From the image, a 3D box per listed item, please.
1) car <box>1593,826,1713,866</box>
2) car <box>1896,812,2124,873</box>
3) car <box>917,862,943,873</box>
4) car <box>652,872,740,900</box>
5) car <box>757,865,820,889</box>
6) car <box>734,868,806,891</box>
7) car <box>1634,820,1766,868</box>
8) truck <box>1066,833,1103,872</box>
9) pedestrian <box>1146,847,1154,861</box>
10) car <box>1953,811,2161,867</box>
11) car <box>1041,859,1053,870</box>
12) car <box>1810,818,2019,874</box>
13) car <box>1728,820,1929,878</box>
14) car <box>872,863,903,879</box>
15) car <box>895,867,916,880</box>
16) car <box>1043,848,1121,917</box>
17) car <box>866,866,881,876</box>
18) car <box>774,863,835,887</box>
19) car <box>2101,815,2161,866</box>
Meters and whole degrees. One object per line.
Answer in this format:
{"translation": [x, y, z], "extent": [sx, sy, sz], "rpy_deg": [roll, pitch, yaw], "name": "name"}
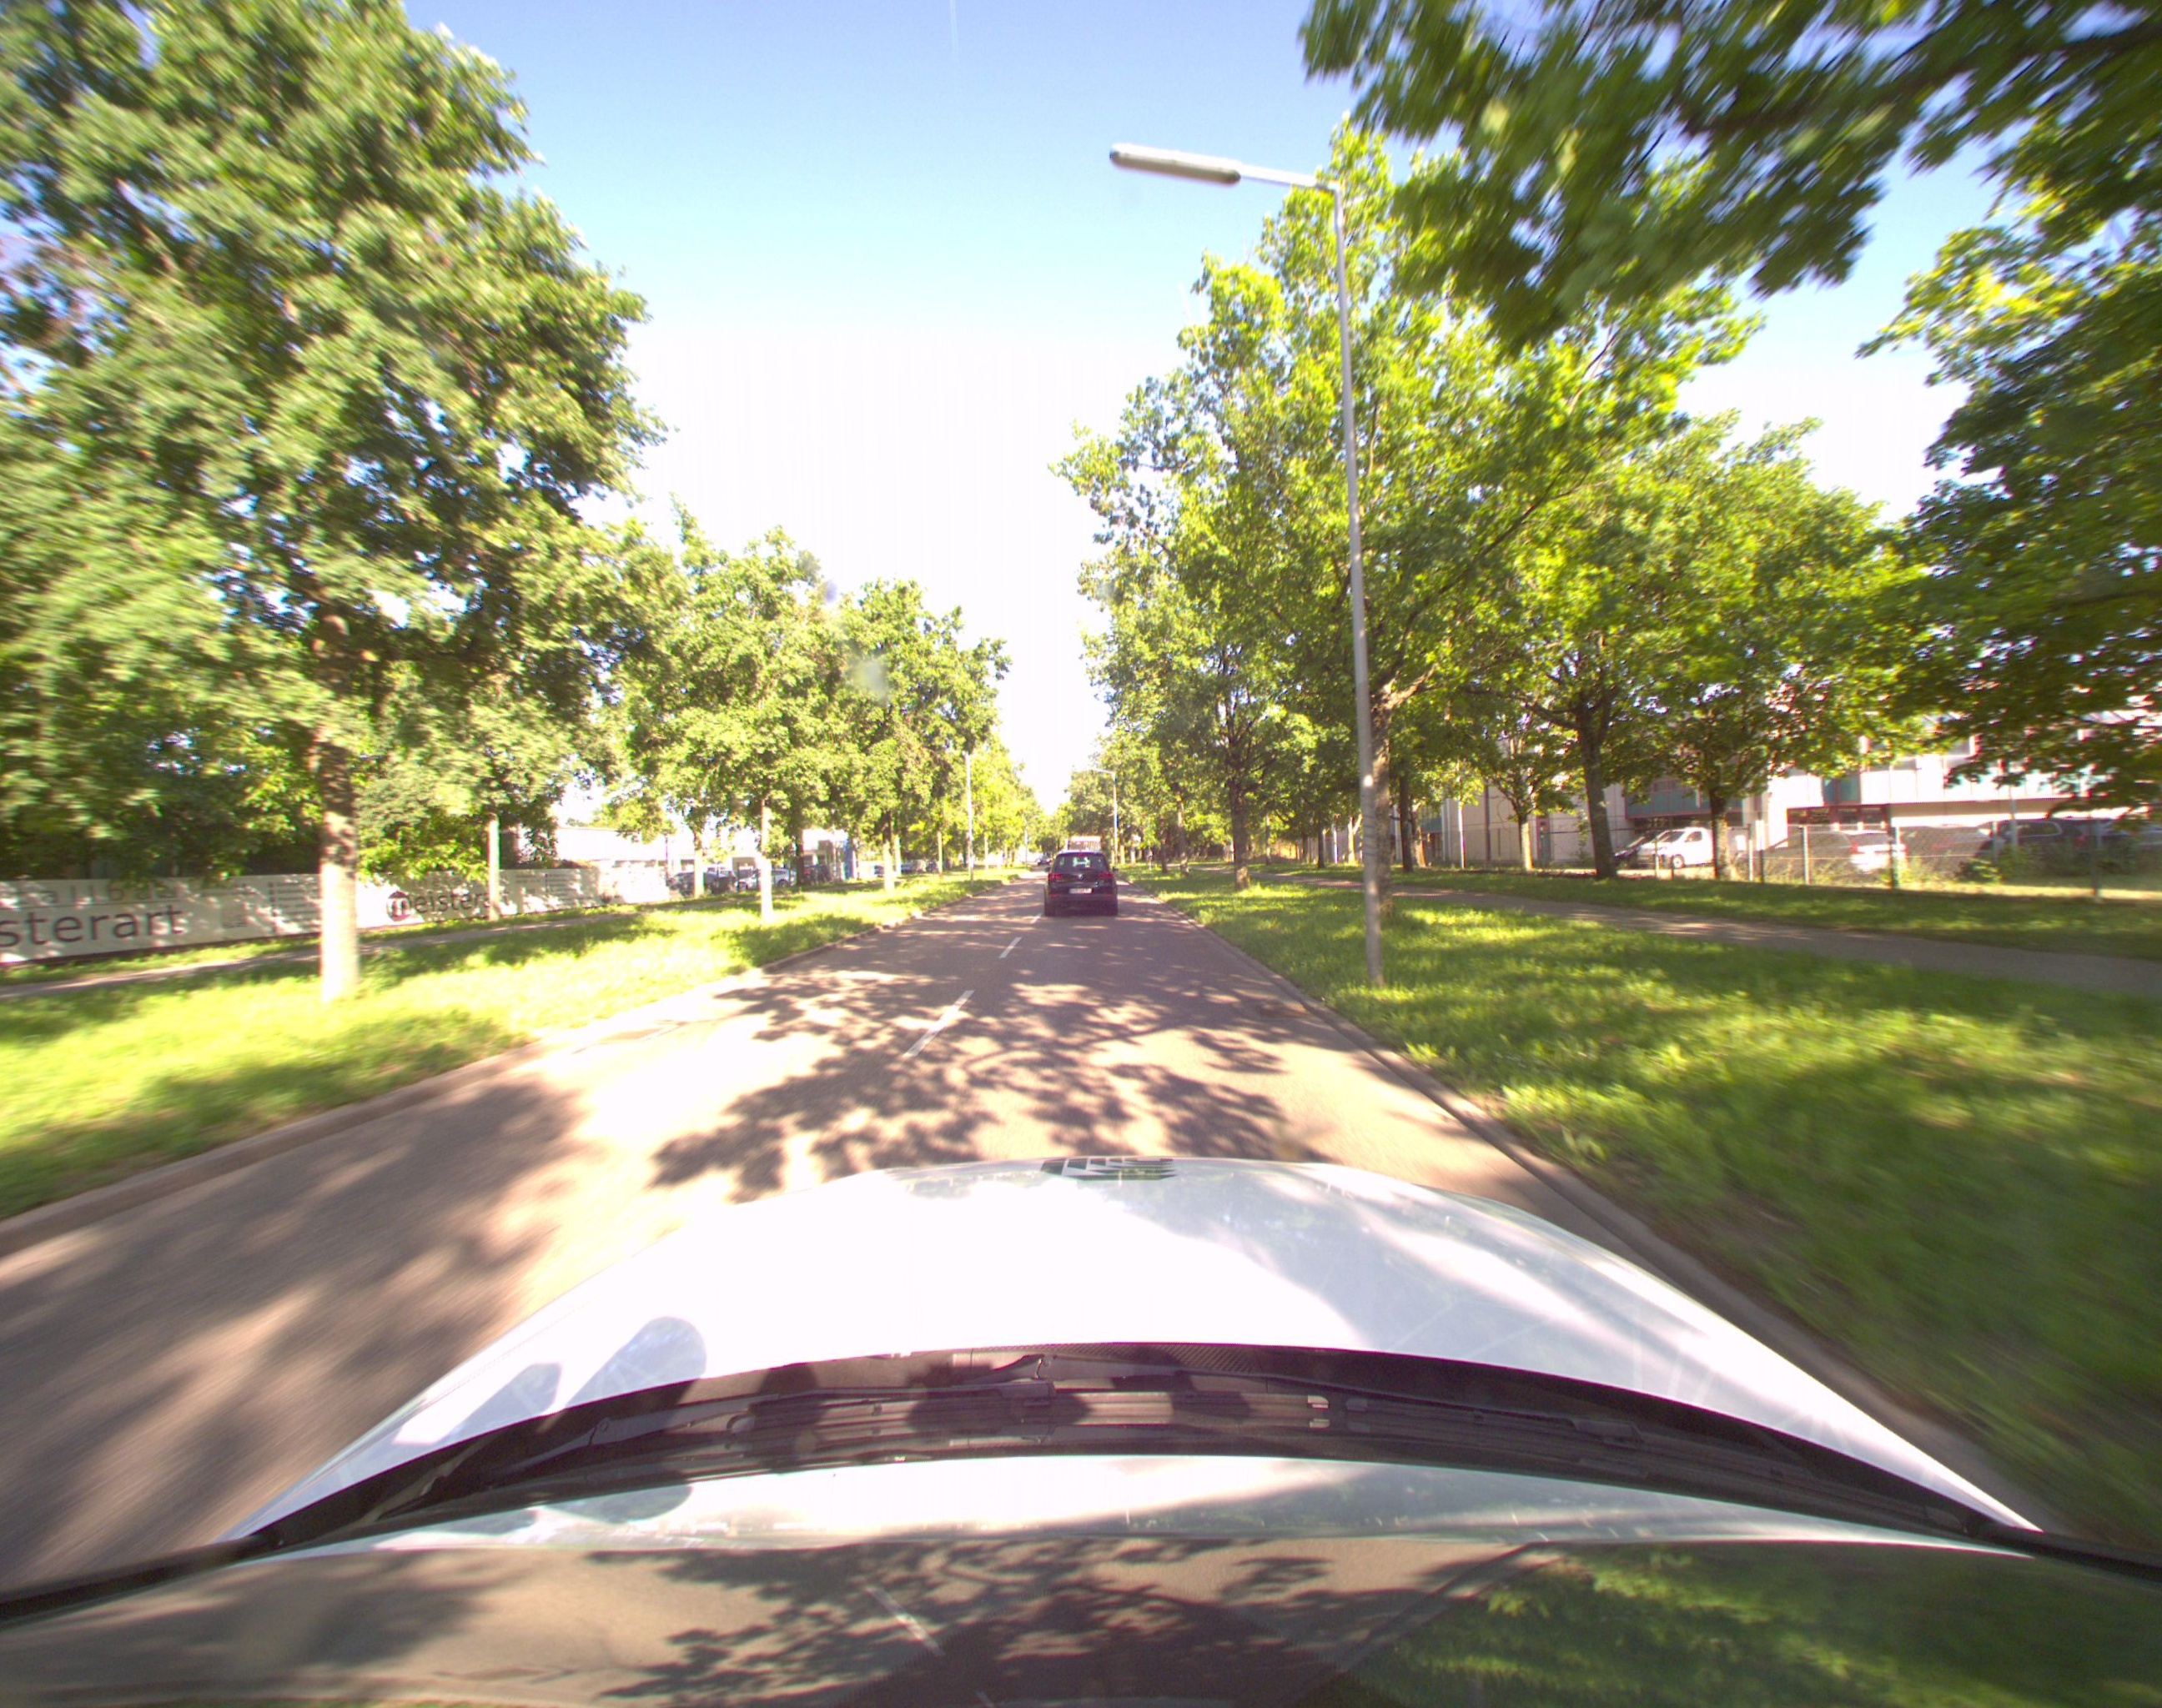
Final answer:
{"translation": [29.670, -0.408, 42.327], "extent": [4.940, 1.884, 1.996], "rpy_deg": [-2, 0, -5], "name": "car"}
{"translation": [28.831, -0.327, 25.541], "extent": [1.988, 1.673, 4.453], "rpy_deg": [-2, 0, -2], "name": "car"}
{"translation": [-23.703, 2.102, 127.628], "extent": [3.987, 1.802, 1.993], "rpy_deg": [0, -1, -10], "name": "car"}
{"translation": [-21.913, 1.823, 46.479], "extent": [3.974, 1.518, 2.198], "rpy_deg": [0, -1, 0], "name": "car"}
{"translation": [-21.516, 1.684, 60.038], "extent": [3.974, 1.746, 1.862], "rpy_deg": [0, -1, 0], "name": "car"}
{"translation": [-21.707, 1.794, 57.036], "extent": [4.296, 1.518, 1.862], "rpy_deg": [0, -1, 0], "name": "car"}
{"translation": [29.702, -0.468, 39.130], "extent": [5.055, 1.959, 1.891], "rpy_deg": [-3, 0, -5], "name": "car"}
{"translation": [0.239, -0.096, 72.262], "extent": [2.507, 3.243, 8.139], "rpy_deg": [-2, 0, -4], "name": "truck"}
{"translation": [8.440, -0.041, 99.350], "extent": [0.608, 1.631, 0.716], "rpy_deg": [-4, 0, -13], "name": "pedestrian"}
{"translation": [31.706, -0.434, 26.376], "extent": [1.990, 1.673, 4.448], "rpy_deg": [0, 0, -5], "name": "car"}
{"translation": [-5.293, 1.628, 128.772], "extent": [1.763, 1.672, 4.196], "rpy_deg": [-3, 0, -2], "name": "car"}
{"translation": [26.223, -0.223, 25.883], "extent": [1.988, 1.559, 4.453], "rpy_deg": [-2, 0, -2], "name": "car"}
{"translation": [23.630, -0.113, 26.058], "extent": [1.988, 1.606, 4.712], "rpy_deg": [-2, -1, -2], "name": "car"}
{"translation": [-18.786, 1.680, 79.169], "extent": [2.548, 1.470, 1.431], "rpy_deg": [-2, 0, 14], "name": "car"}
{"translation": [-23.405, 2.604, 108.790], "extent": [1.989, 1.598, 5.008], "rpy_deg": [0, 0, -3], "name": "car"}
{"translation": [-0.068, 0.698, 21.577], "extent": [1.779, 1.633, 3.994], "rpy_deg": [0, 0, -4], "name": "car"}
{"translation": [-35.054, 2.835, 137.635], "extent": [1.993, 1.567, 4.870], "rpy_deg": [0, 0, -9], "name": "car"}
{"translation": [-21.315, 1.614, 62.944], "extent": [3.973, 1.742, 2.000], "rpy_deg": [0, -1, 1], "name": "car"}
{"translation": [36.373, -0.453, 26.227], "extent": [1.686, 1.656, 4.462], "rpy_deg": [0, 0, 5], "name": "car"}
